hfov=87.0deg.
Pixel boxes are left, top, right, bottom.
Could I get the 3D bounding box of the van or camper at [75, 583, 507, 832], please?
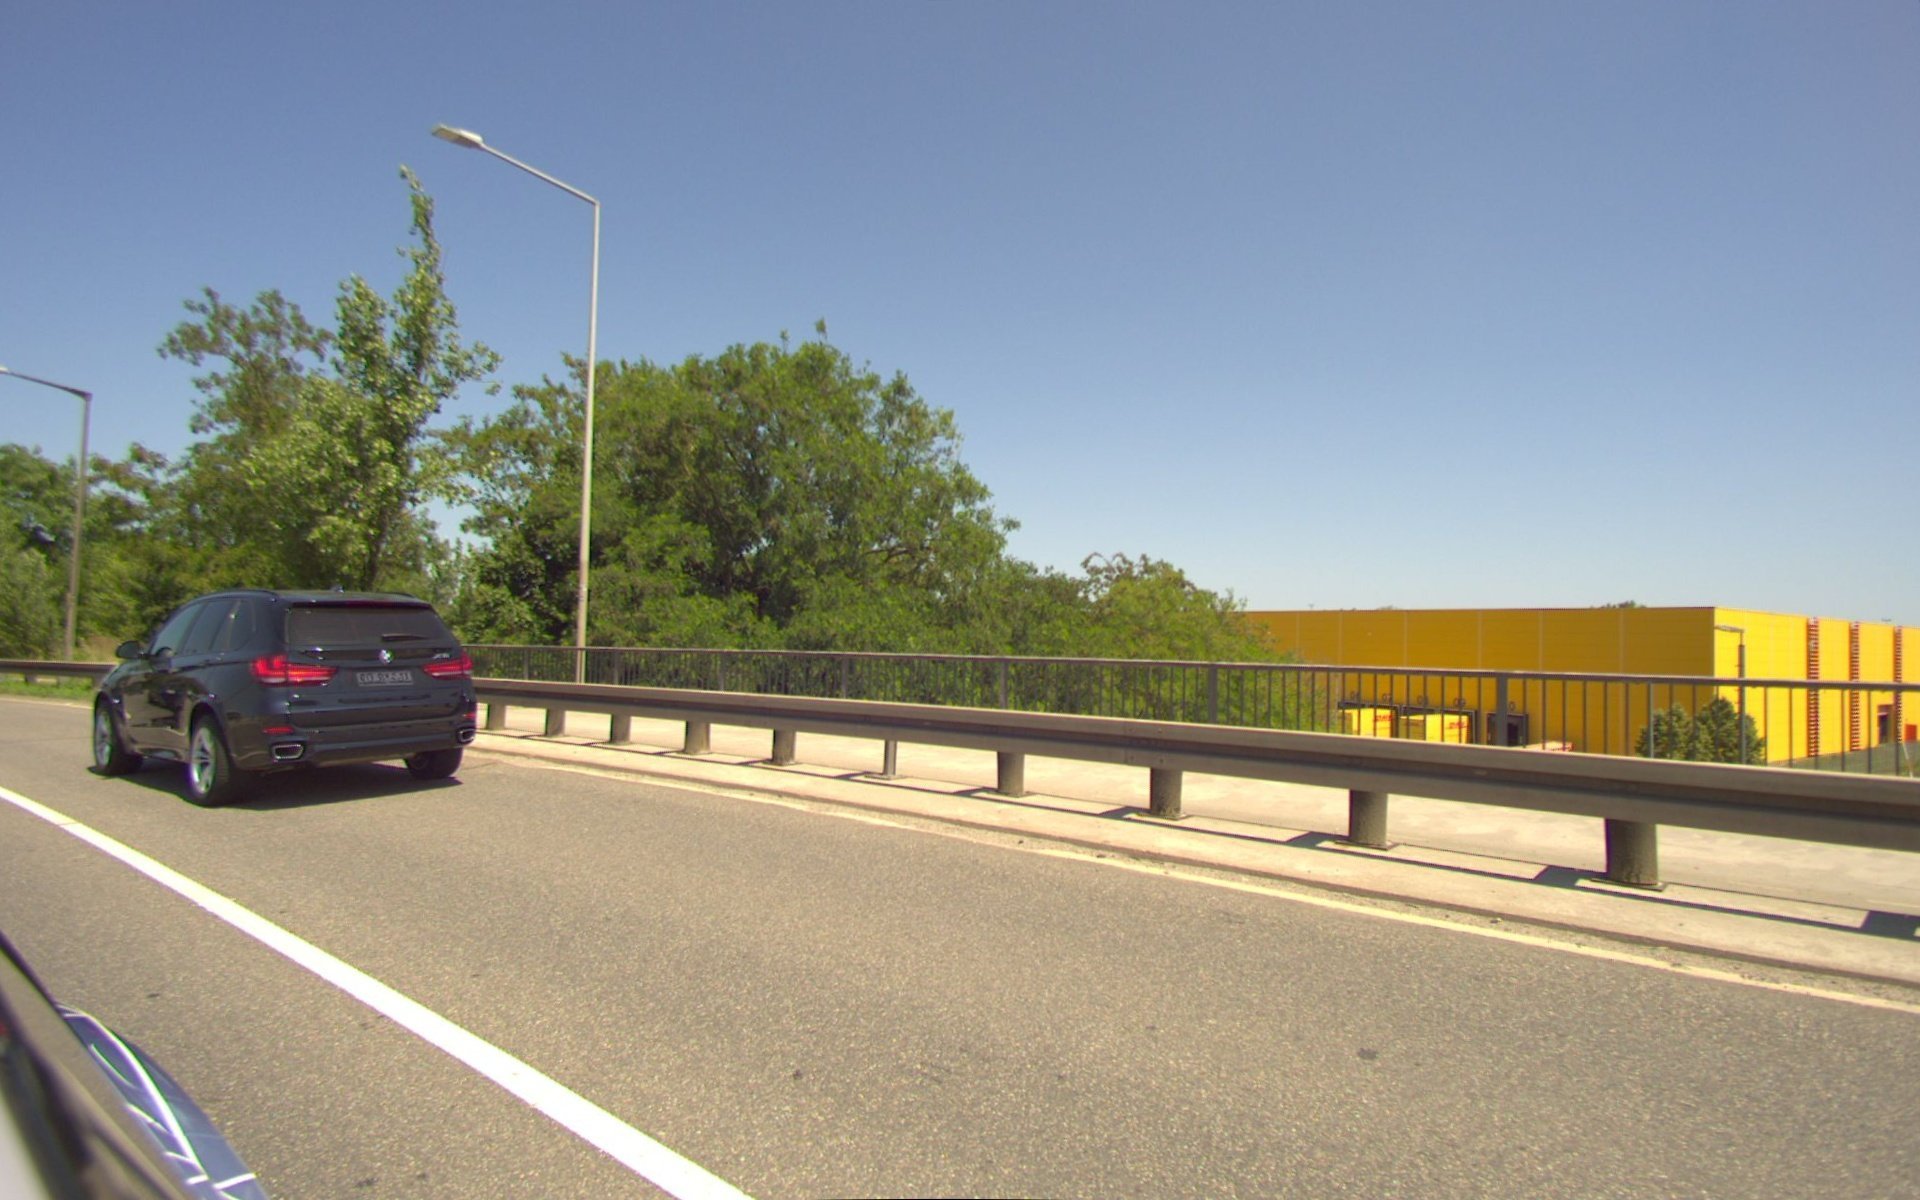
[{"bbox_3d":[-6.406,0.815,9.478,4.691,1.774,1.974,-1,-2,38],"label":"van or camper"}]
